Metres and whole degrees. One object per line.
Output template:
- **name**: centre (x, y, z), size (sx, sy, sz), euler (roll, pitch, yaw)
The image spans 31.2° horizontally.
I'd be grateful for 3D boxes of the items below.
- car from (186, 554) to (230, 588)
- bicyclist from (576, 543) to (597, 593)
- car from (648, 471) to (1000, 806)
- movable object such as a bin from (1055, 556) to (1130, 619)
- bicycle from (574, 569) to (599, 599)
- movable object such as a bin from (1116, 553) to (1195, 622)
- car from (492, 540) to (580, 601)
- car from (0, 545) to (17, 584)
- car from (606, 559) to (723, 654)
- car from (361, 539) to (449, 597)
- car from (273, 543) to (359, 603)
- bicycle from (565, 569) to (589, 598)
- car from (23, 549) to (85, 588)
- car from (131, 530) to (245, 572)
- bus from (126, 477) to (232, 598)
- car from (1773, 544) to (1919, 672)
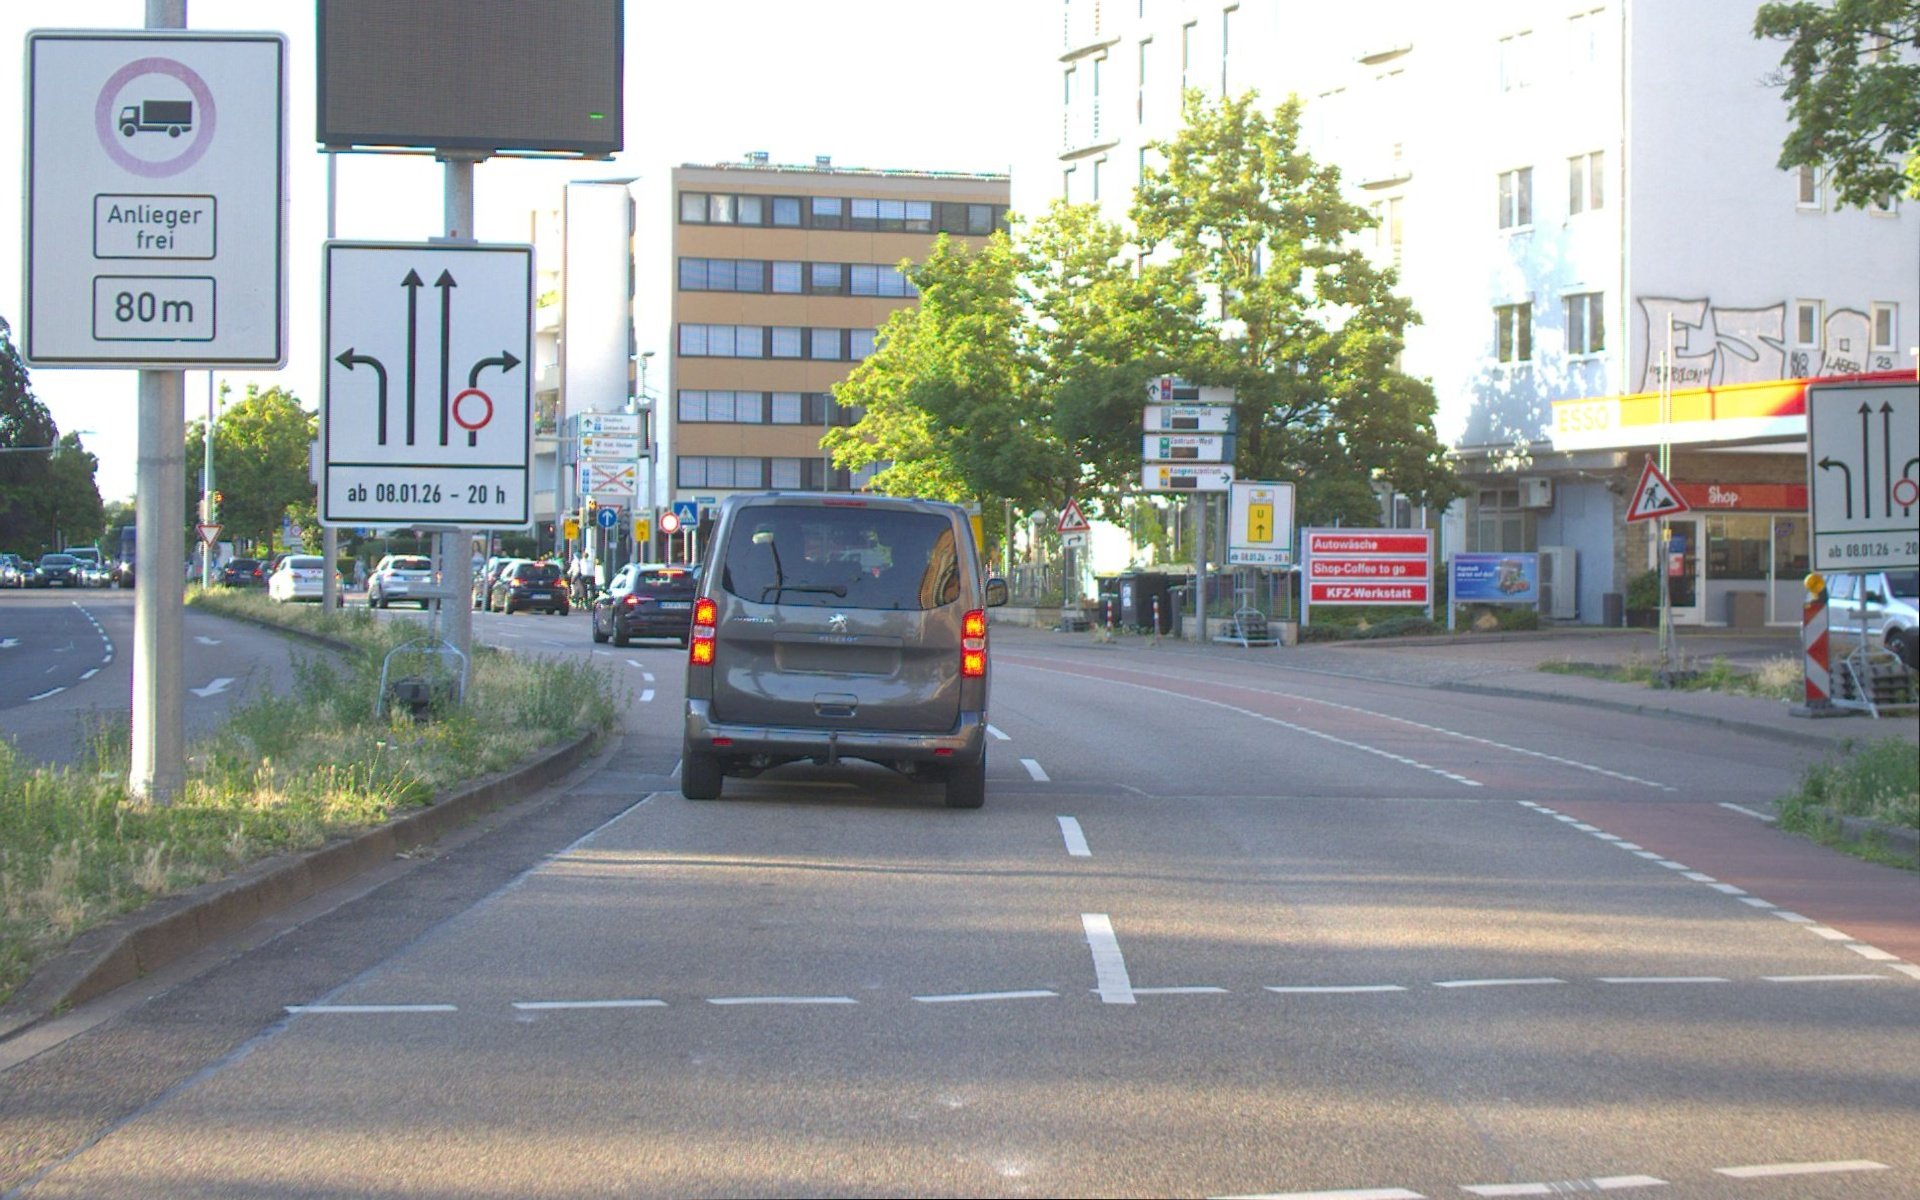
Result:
- **car**: centre (-39.098, -1.514, 178.652), size (1.848, 1.702, 3.726), euler (0, 1, -19)
- **bicyclist**: centre (-10.981, -0.935, 101.102), size (0.540, 1.454, 0.641), euler (0, 1, -13)
- **car**: centre (-0.784, 0.204, 22.252), size (1.993, 1.894, 4.299), euler (2, 1, 0)
- **movable object such as a bin**: centre (2.959, -0.293, 76.903), size (1.462, 1.381, 1.547), euler (0, 1, -5)
- **bicycle**: centre (-11.006, -0.471, 101.221), size (0.533, 0.844, 1.684), euler (0, 1, -13)
- **movable object such as a bin**: centre (4.182, -0.266, 73.641), size (1.462, 1.449, 1.547), euler (0, 1, -5)
- **car**: centre (-11.809, -0.840, 95.550), size (1.993, 1.651, 4.300), euler (0, 1, -13)
- **car**: centre (-40.454, -1.482, 142.615), size (1.993, 1.590, 4.001), euler (1, 1, -7)
- **car**: centre (-5.099, 0.088, 58.921), size (1.845, 1.539, 3.632), euler (1, 1, -7)
- **car**: centre (-16.142, -0.952, 99.886), size (1.993, 1.651, 4.300), euler (0, 1, -17)
- **car**: centre (-18.505, -0.792, 98.708), size (1.993, 1.651, 4.300), euler (0, 1, -17)
- **bicycle**: centre (-11.491, -0.500, 103.118), size (0.533, 0.844, 1.684), euler (0, 1, -13)
- **car**: centre (-37.819, -1.320, 143.614), size (1.993, 1.590, 4.001), euler (1, 1, -7)
- **car**: centre (-30.393, -1.936, 135.279), size (3.986, 1.590, 2.000), euler (0, 1, -27)
- **bus**: centre (-31.662, -2.518, 139.138), size (3.288, 4.601, 10.003), euler (2, 0, -17)
- **car**: centre (11.959, 0.071, 43.224), size (1.771, 1.525, 4.354), euler (1, 1, -10)
